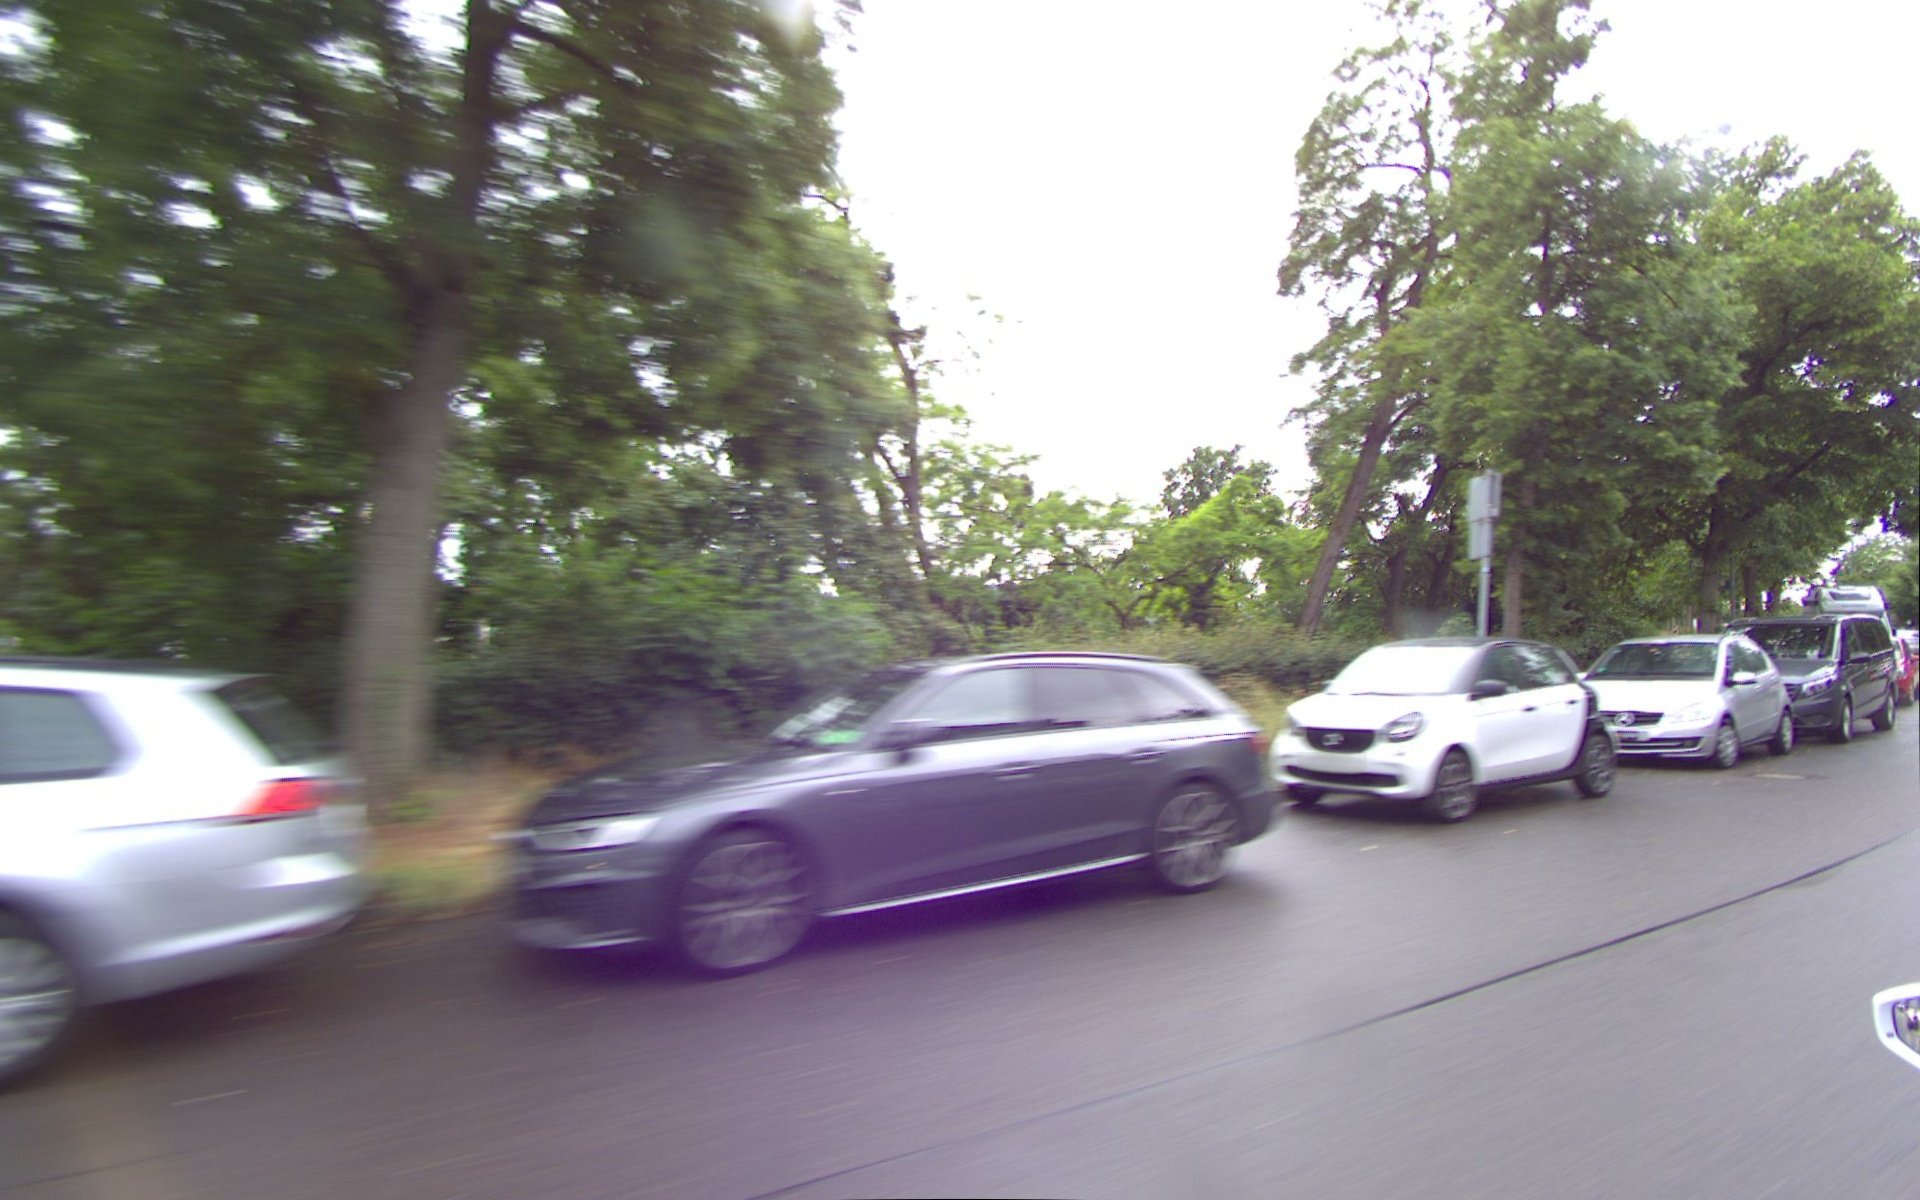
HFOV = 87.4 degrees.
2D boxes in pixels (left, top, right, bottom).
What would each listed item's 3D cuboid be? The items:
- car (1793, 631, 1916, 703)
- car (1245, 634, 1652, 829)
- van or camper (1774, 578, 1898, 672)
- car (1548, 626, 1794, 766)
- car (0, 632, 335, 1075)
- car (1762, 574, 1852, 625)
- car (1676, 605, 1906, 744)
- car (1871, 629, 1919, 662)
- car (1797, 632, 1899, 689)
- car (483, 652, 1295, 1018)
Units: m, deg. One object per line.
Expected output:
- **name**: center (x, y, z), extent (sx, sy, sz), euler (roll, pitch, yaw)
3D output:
- **car**: center (21.136, 1.526, 23.671), extent (1.935, 1.480, 4.547), euler (-4, -3, 44)
- **car**: center (4.855, 1.150, 9.808), extent (4.162, 1.529, 1.674), euler (2, -5, -34)
- **van or camper**: center (31.562, 0.955, 36.448), extent (2.472, 3.066, 6.542), euler (-3, -3, 34)
- **car**: center (9.360, 1.200, 13.137), extent (3.736, 1.572, 1.670), euler (2, -6, -40)
- **car**: center (-4.764, 0.913, 3.446), extent (4.320, 1.448, 1.649), euler (-1, -3, -29)
- **car**: center (26.796, 0.029, 31.739), extent (1.934, 1.426, 4.183), euler (-4, -3, 43)
- **car**: center (13.976, 1.144, 16.786), extent (4.959, 1.993, 1.940), euler (0, -4, -39)
- **car**: center (49.522, 2.369, 52.747), extent (1.796, 1.638, 3.777), euler (-1, -2, 31)
- **car**: center (24.462, 1.643, 27.649), extent (1.934, 1.426, 3.524), euler (-4, -3, 43)
- **car**: center (-0.241, 1.045, 5.855), extent (4.450, 1.398, 1.675), euler (1, -5, -32)
